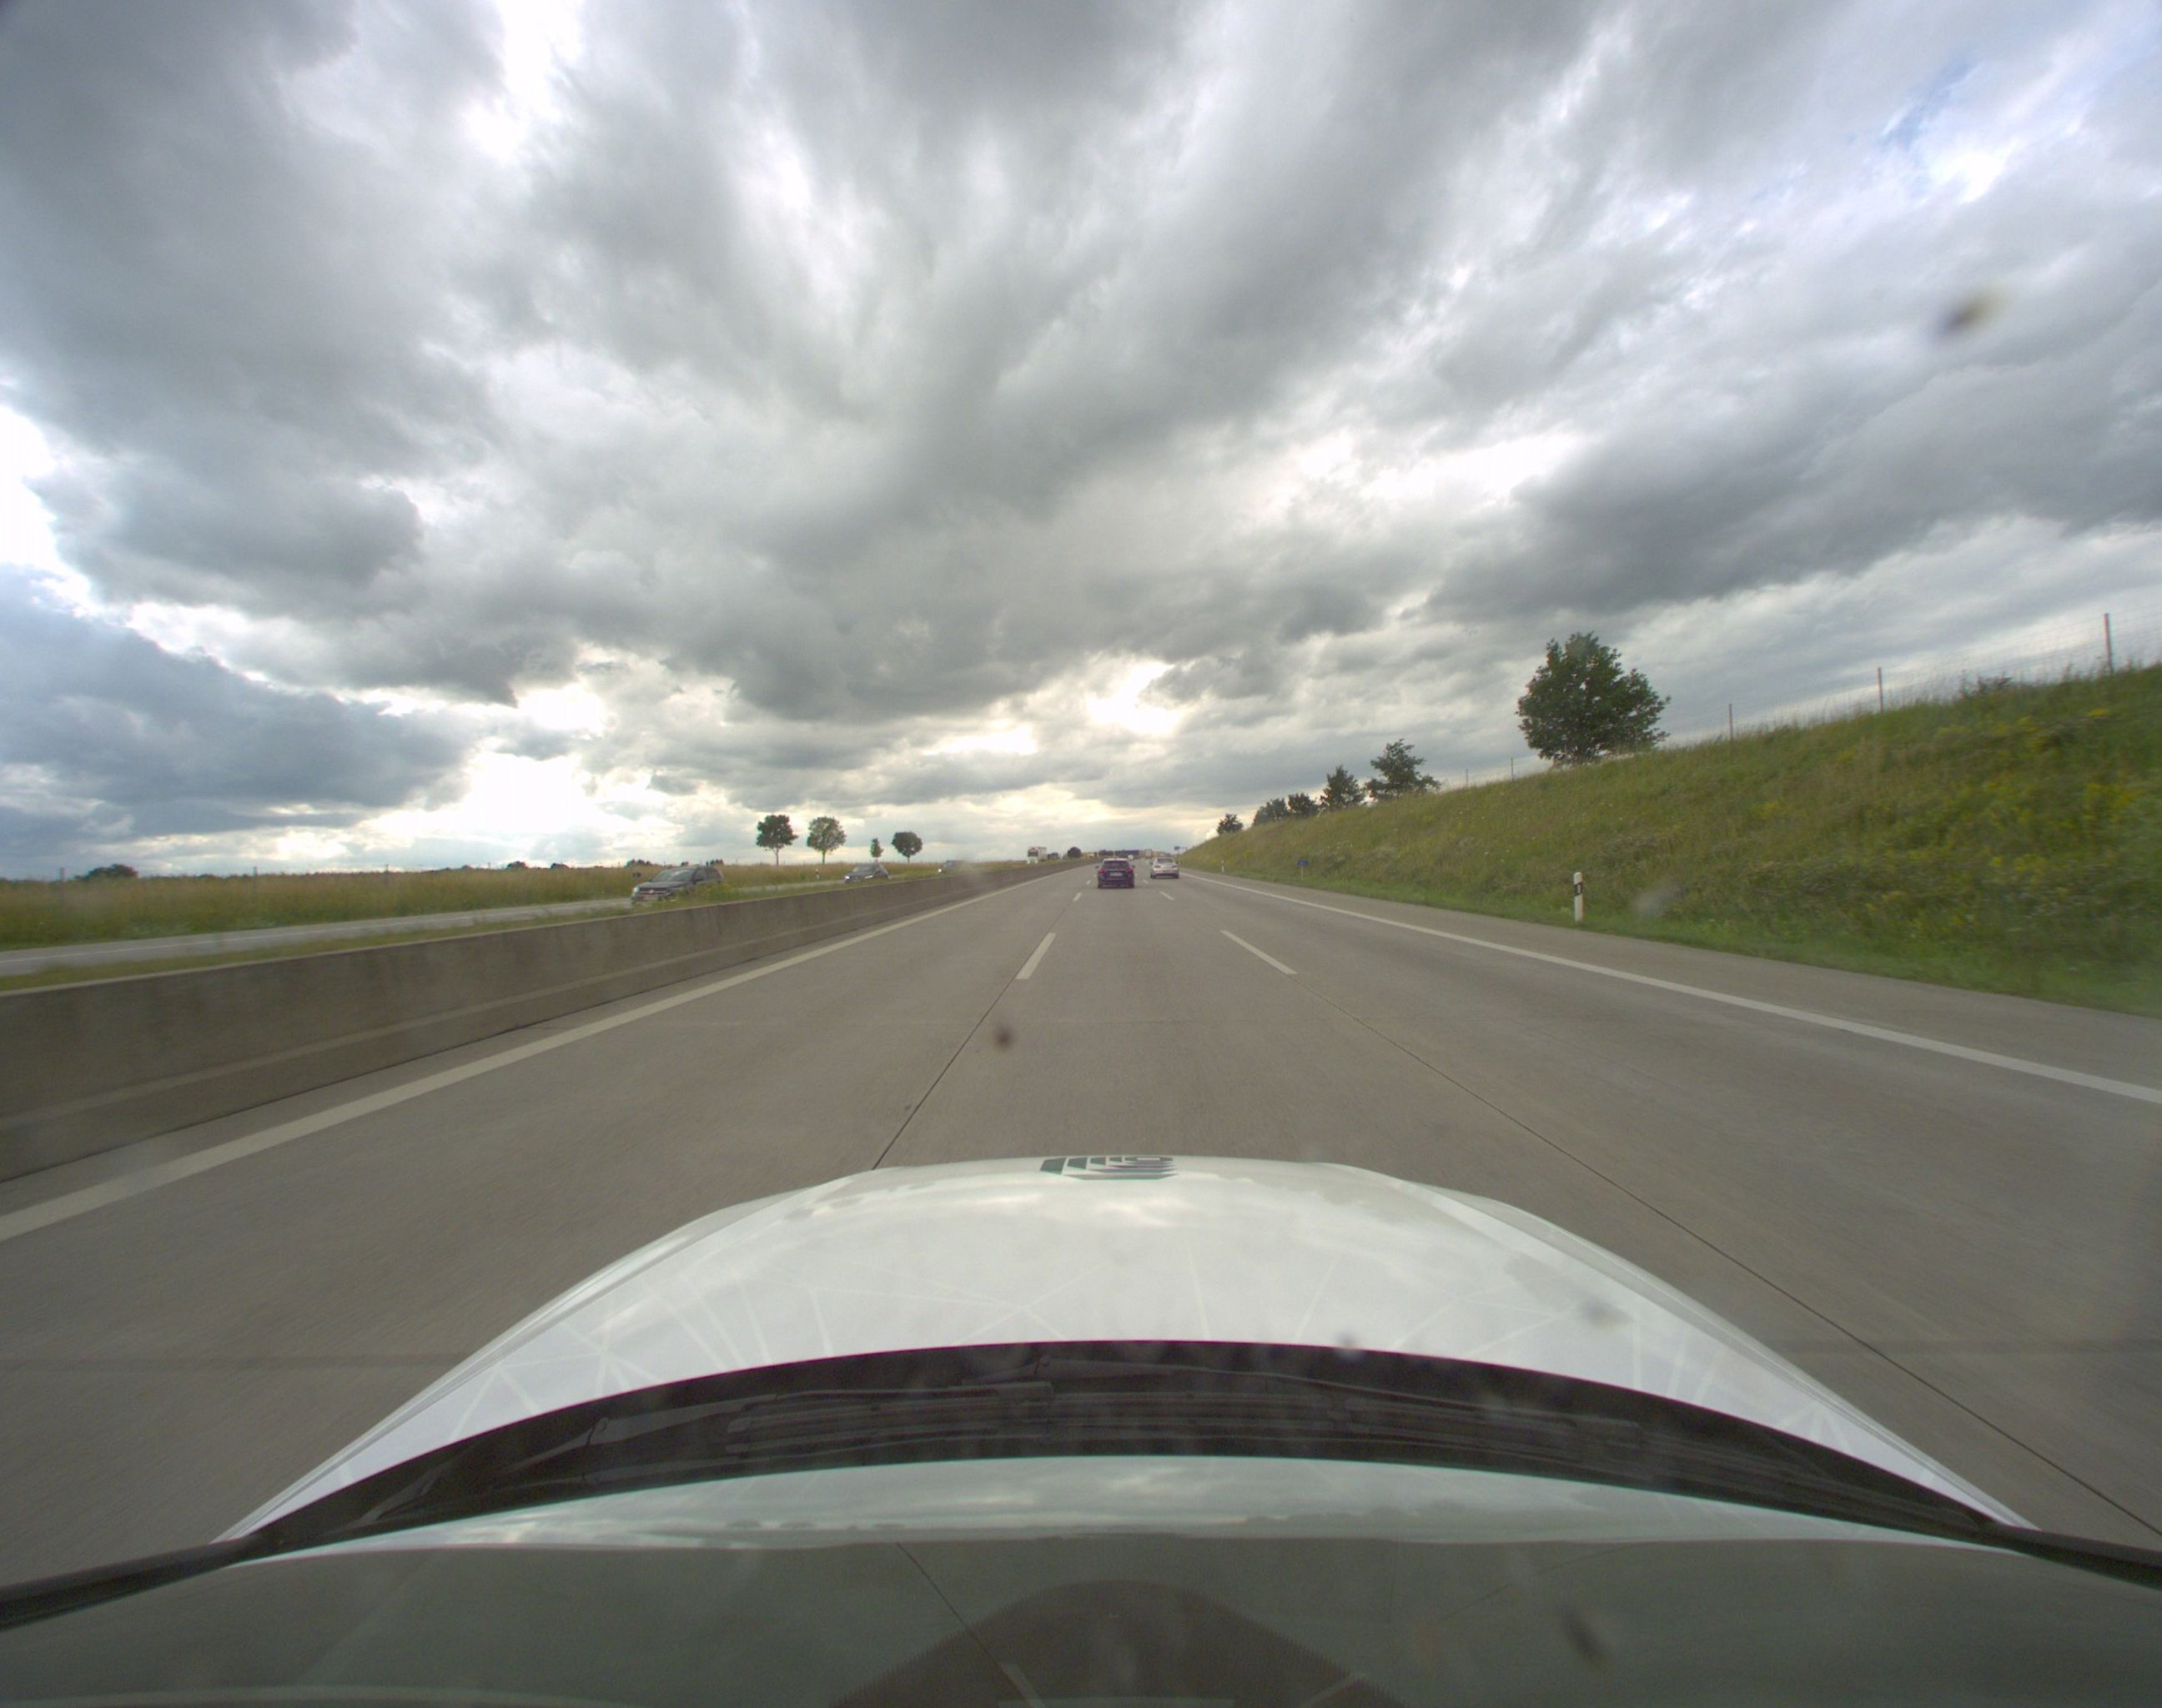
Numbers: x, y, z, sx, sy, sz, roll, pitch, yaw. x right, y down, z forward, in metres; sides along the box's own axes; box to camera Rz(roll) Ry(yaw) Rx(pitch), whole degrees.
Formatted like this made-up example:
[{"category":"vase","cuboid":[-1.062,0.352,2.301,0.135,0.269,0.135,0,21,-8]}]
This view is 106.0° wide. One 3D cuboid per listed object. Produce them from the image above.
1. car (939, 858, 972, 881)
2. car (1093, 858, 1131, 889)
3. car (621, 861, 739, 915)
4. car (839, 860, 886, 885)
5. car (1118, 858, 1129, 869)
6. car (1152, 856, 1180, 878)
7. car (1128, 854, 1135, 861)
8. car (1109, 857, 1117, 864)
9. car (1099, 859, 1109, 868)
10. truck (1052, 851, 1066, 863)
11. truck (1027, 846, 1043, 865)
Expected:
[{"category":"car","cuboid":[-9.149,1.096,59.639,1.683,1.610,4.002,-1,0,2]},{"category":"car","cuboid":[1.567,0.942,40.200,1.767,1.413,4.003,-1,-1,3]},{"category":"car","cuboid":[-13.888,1.131,28.482,1.986,1.684,4.065,-1,0,2]},{"category":"car","cuboid":[-13.359,1.112,49.931,1.655,1.399,4.002,-1,0,2]},{"category":"car","cuboid":[8.310,1.850,158.863,1.987,2.014,4.000,-1,-1,0]},{"category":"car","cuboid":[5.798,0.893,55.595,1.780,1.403,4.226,-1,-1,5]},{"category":"car","cuboid":[15.707,1.001,255.036,1.984,2.014,4.005,-1,-1,5]},{"category":"car","cuboid":[9.197,1.788,233.779,1.987,2.014,3.999,-1,-1,0]},{"category":"car","cuboid":[5.016,2.033,177.631,2.039,2.014,4.001,-1,-1,1]},{"category":"truck","cuboid":[-5.164,0.745,193.226,2.604,2.725,6.925,-1,0,3]},{"category":"truck","cuboid":[-10.066,0.360,179.349,2.829,4.256,6.096,-1,-1,3]}]
